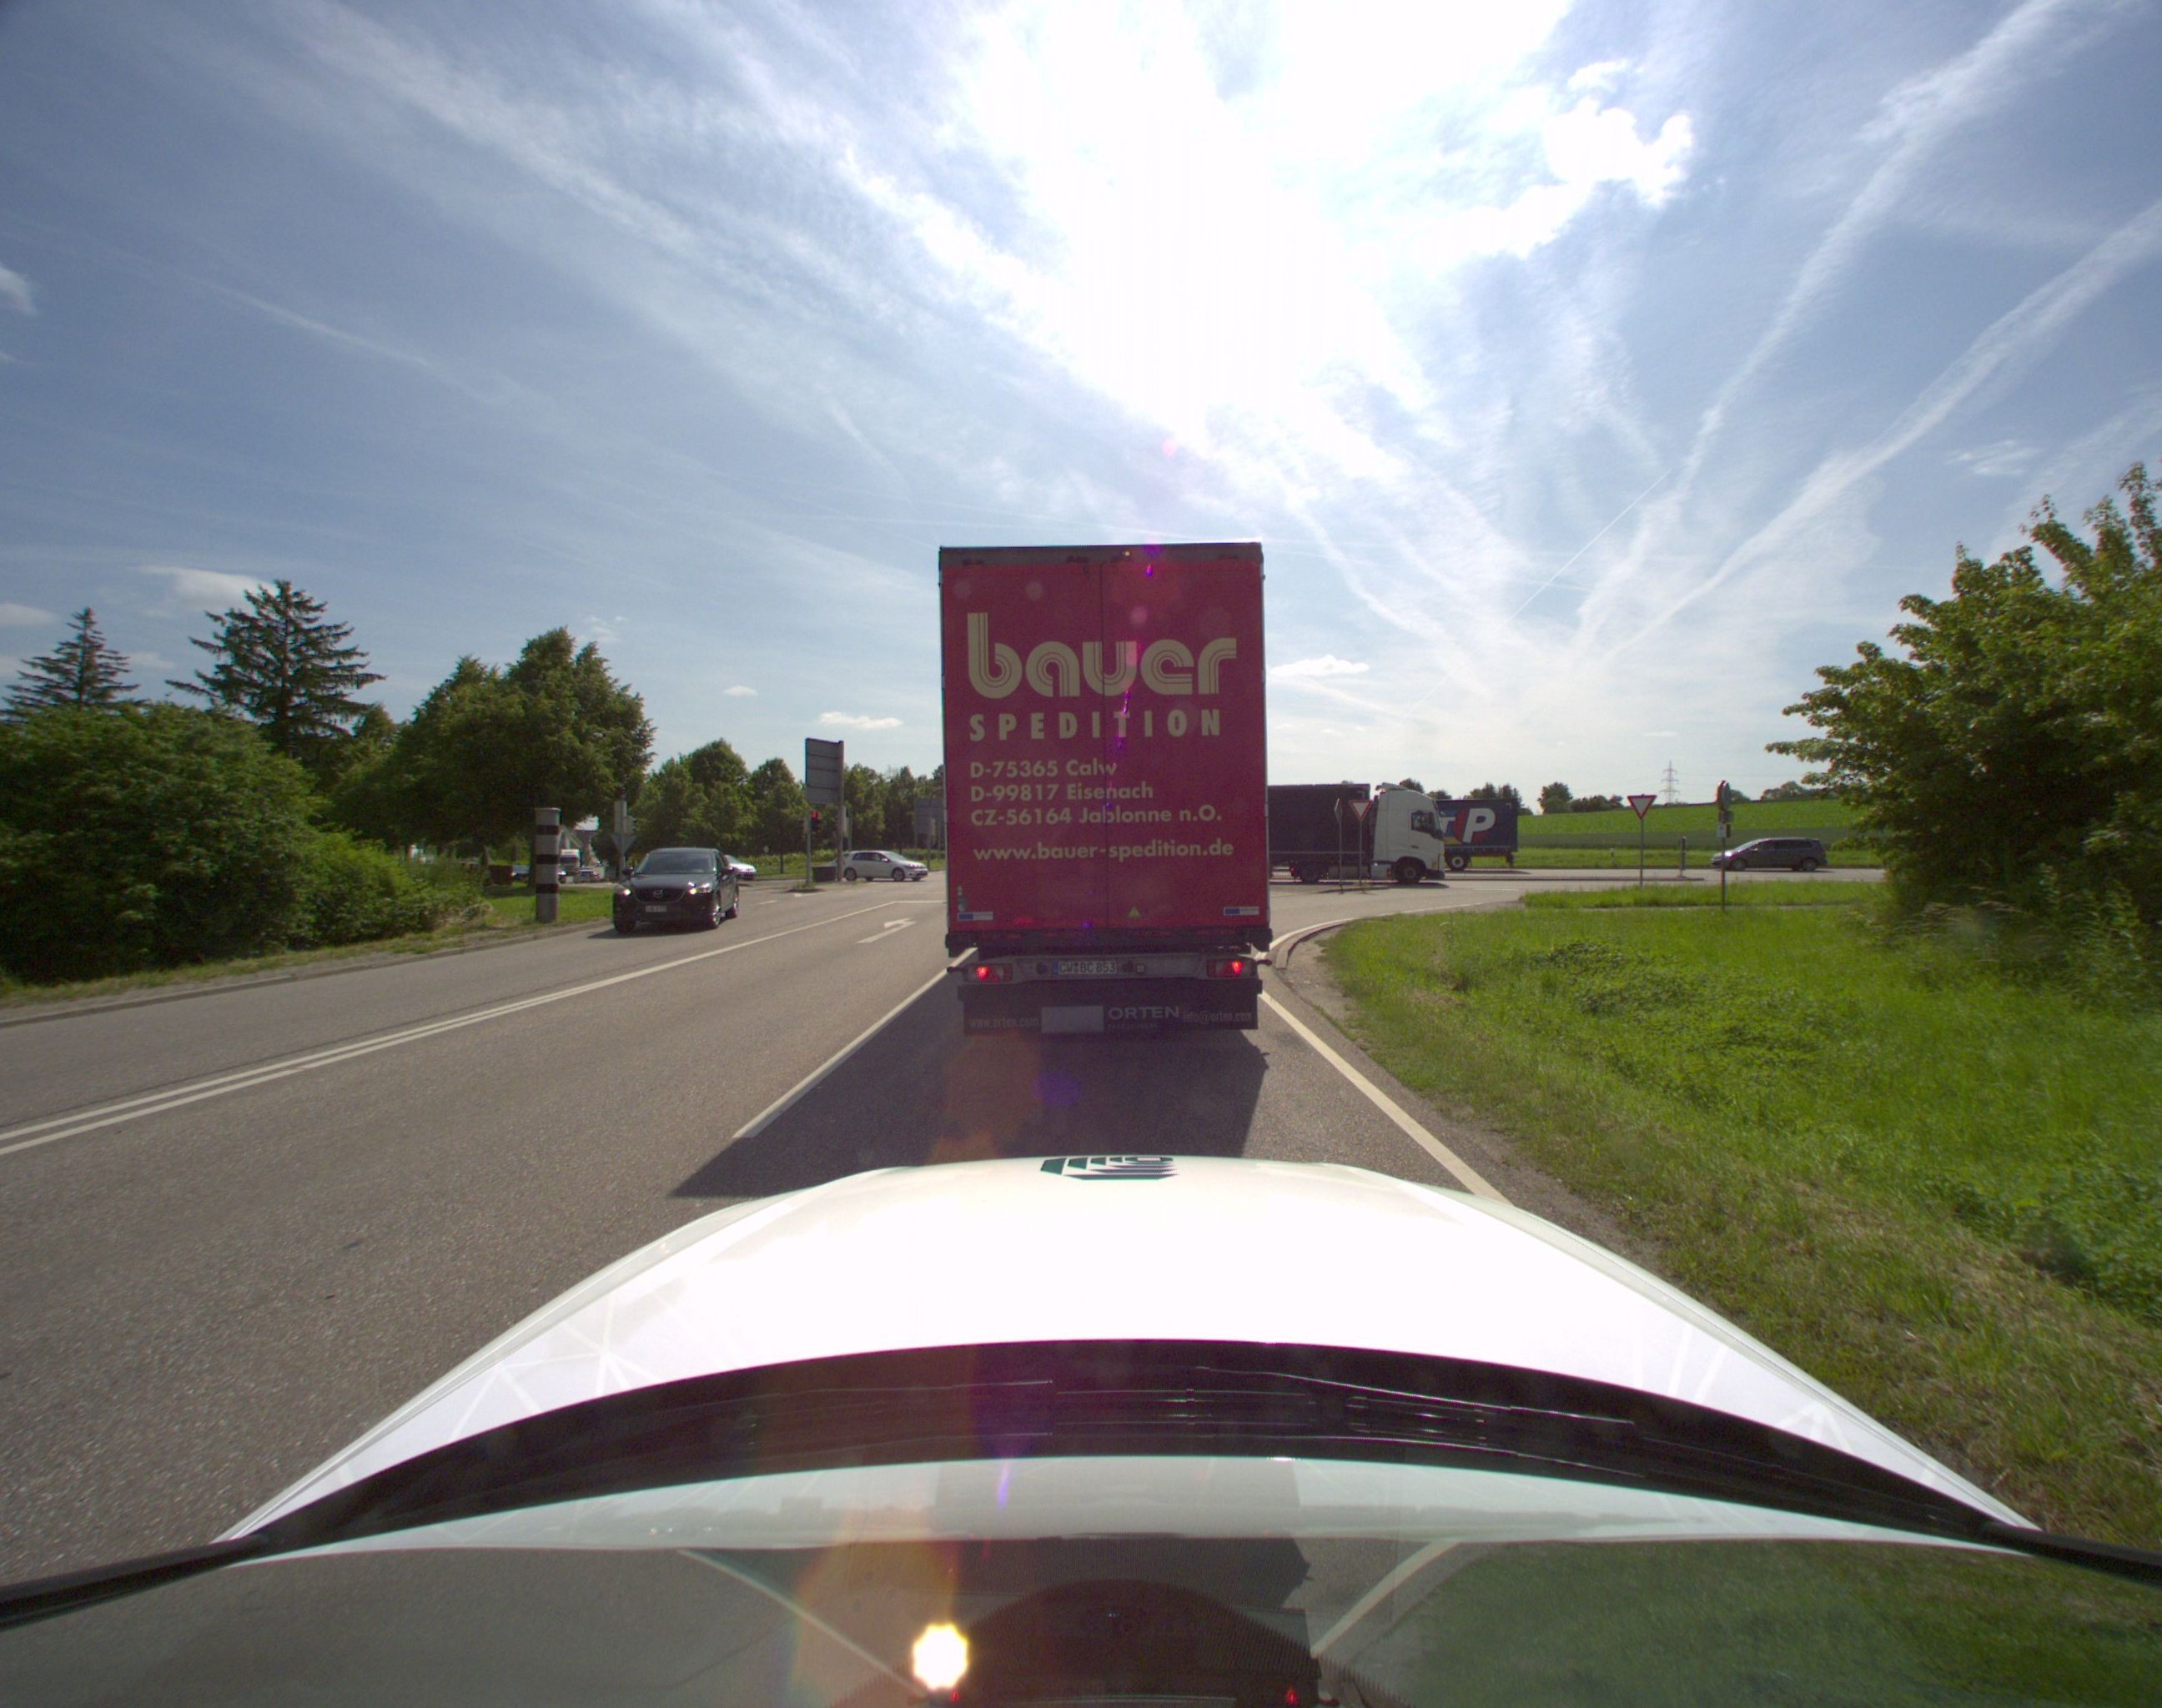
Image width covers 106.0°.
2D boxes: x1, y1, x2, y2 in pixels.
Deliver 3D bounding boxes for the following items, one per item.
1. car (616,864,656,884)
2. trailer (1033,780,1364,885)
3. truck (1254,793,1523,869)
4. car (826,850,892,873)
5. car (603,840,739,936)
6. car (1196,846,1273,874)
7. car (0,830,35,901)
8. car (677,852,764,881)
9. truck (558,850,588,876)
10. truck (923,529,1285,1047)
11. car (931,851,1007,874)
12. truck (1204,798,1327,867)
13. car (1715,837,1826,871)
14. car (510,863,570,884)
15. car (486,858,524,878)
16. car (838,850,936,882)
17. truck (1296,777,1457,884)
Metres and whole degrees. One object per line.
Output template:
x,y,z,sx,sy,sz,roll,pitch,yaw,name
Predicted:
-36.633,1.632,67.001,1.884,1.547,4.063,-3,1,-43,car
4.858,-0.844,34.815,13.580,4.061,2.810,0,1,16,trailer
17.457,-1.236,47.274,14.156,3.979,3.044,0,1,23,truck
-14.061,0.449,51.591,3.813,1.357,1.686,0,1,24,car
-8.548,0.617,17.357,1.871,1.750,4.087,-1,1,-17,car
8.276,0.333,43.861,3.966,1.491,1.543,-1,-1,14,car
-35.425,0.341,24.397,4.601,2.180,1.985,0,0,-22,car
-18.840,0.629,42.543,4.000,1.416,1.804,0,1,21,car
-77.586,1.369,124.482,2.952,3.798,7.861,0,-1,-25,truck
0.406,-0.561,14.550,2.724,3.925,16.631,-1,0,2,truck
-6.679,0.520,48.540,4.226,1.305,1.752,-1,0,29,car
11.304,-1.270,49.856,6.869,3.993,3.044,0,1,22,truck
34.412,-0.003,40.793,3.951,1.596,1.674,0,-1,25,car
-34.468,1.211,51.850,4.225,1.305,1.753,0,0,34,car
-42.268,0.989,59.772,1.751,1.428,4.229,-1,0,-43,car
-9.268,0.540,38.930,4.211,1.461,1.819,0,1,20,car
11.795,-0.910,33.069,5.788,4.061,2.807,0,1,11,truck
